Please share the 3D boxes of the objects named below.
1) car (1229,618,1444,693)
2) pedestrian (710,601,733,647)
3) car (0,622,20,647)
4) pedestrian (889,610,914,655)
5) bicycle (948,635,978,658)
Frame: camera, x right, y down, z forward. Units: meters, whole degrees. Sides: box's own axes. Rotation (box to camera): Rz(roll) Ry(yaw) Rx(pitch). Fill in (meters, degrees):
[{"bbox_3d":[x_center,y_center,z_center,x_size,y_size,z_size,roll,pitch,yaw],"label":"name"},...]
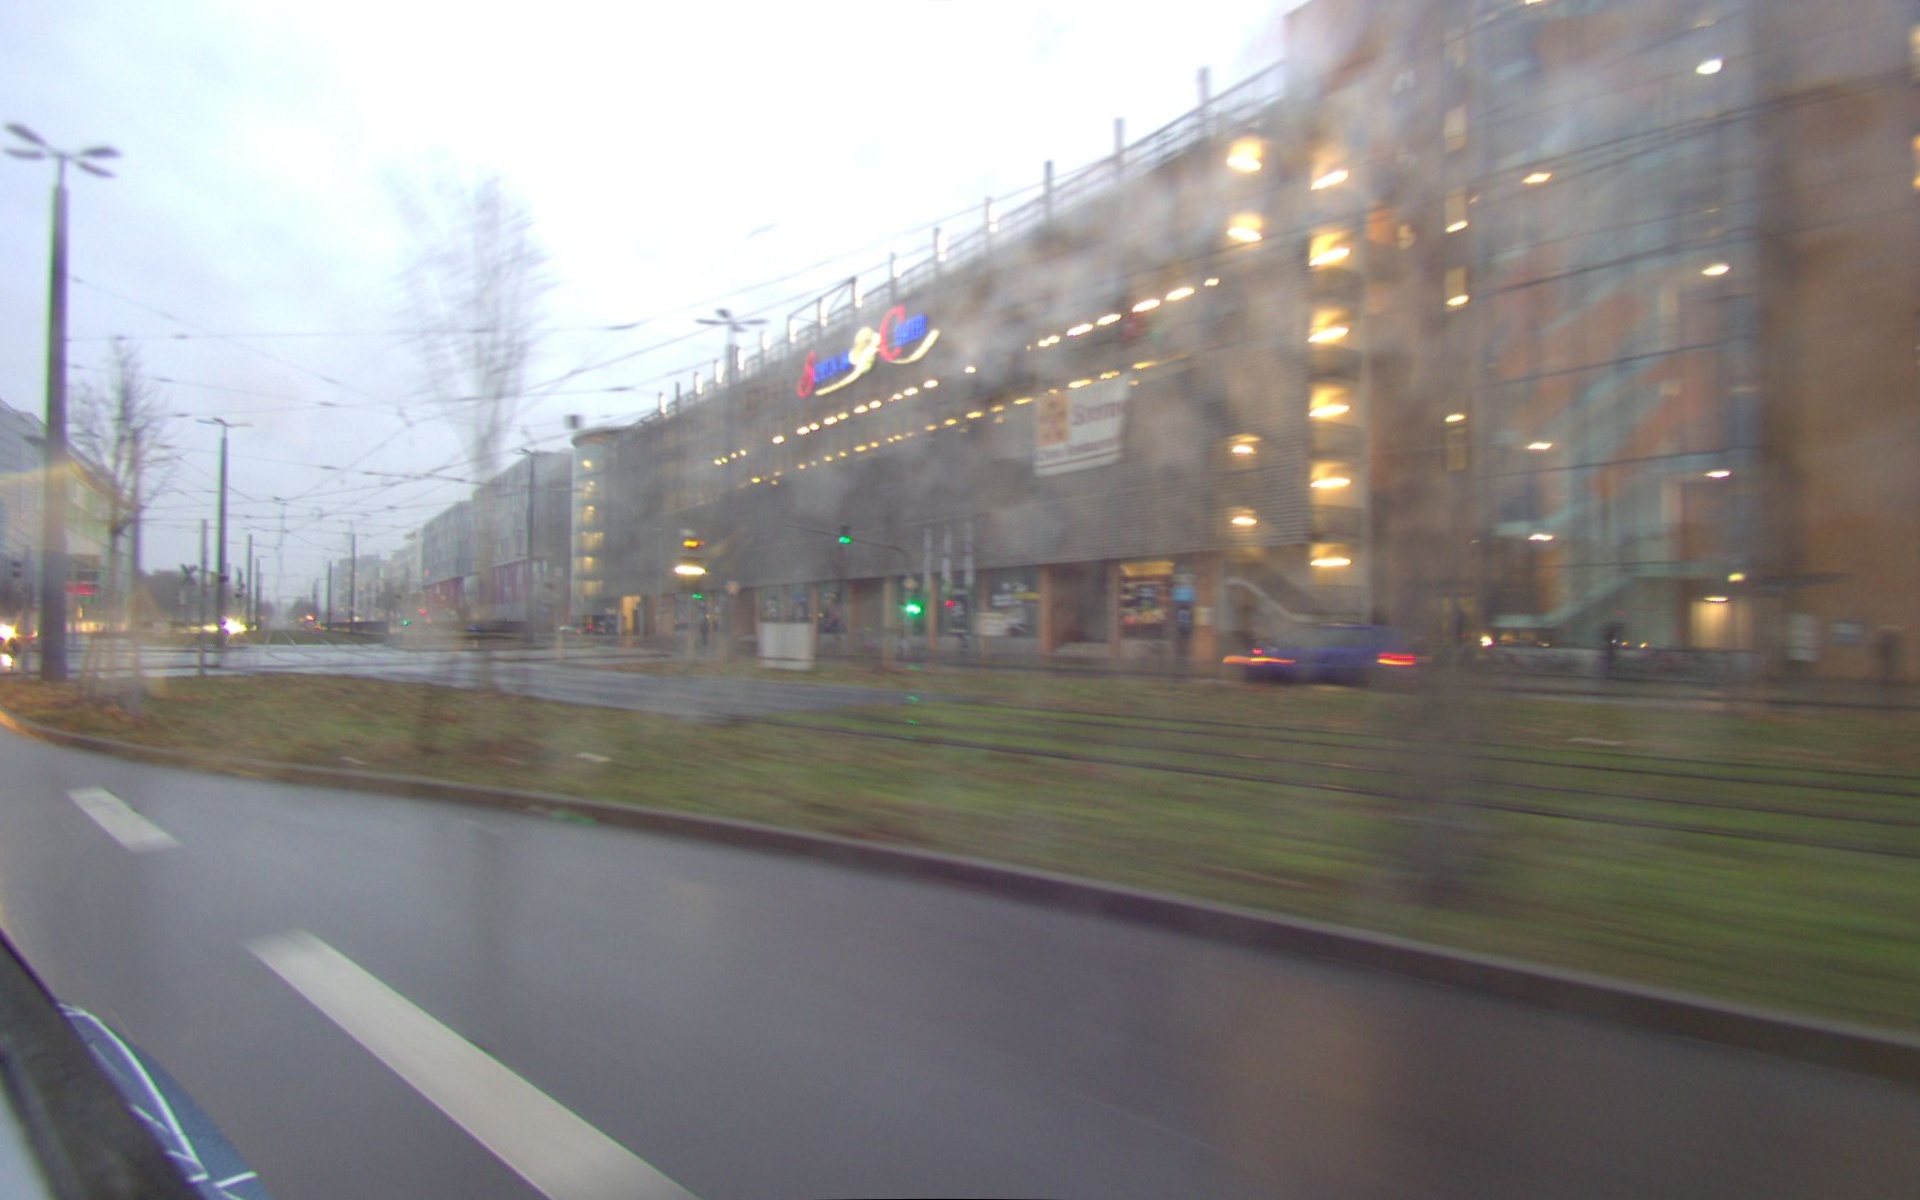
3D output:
[{"bbox_3d":[8.040,1.136,21.842,1.794,1.453,3.959,2,-2,-44],"label":"car"},{"bbox_3d":[-15.472,1.525,65.563,1.095,2.947,0.969,2,-1,-33],"label":"pedestrian"},{"bbox_3d":[-64.866,2.326,68.025,1.803,1.674,4.010,1,-2,-34],"label":"car"},{"bbox_3d":[-3.264,1.805,56.318,0.950,2.457,1.117,2,-1,-33],"label":"pedestrian"},{"bbox_3d":[0.155,2.480,54.298,0.469,1.130,2.097,2,-1,-34],"label":"bicycle"}]
